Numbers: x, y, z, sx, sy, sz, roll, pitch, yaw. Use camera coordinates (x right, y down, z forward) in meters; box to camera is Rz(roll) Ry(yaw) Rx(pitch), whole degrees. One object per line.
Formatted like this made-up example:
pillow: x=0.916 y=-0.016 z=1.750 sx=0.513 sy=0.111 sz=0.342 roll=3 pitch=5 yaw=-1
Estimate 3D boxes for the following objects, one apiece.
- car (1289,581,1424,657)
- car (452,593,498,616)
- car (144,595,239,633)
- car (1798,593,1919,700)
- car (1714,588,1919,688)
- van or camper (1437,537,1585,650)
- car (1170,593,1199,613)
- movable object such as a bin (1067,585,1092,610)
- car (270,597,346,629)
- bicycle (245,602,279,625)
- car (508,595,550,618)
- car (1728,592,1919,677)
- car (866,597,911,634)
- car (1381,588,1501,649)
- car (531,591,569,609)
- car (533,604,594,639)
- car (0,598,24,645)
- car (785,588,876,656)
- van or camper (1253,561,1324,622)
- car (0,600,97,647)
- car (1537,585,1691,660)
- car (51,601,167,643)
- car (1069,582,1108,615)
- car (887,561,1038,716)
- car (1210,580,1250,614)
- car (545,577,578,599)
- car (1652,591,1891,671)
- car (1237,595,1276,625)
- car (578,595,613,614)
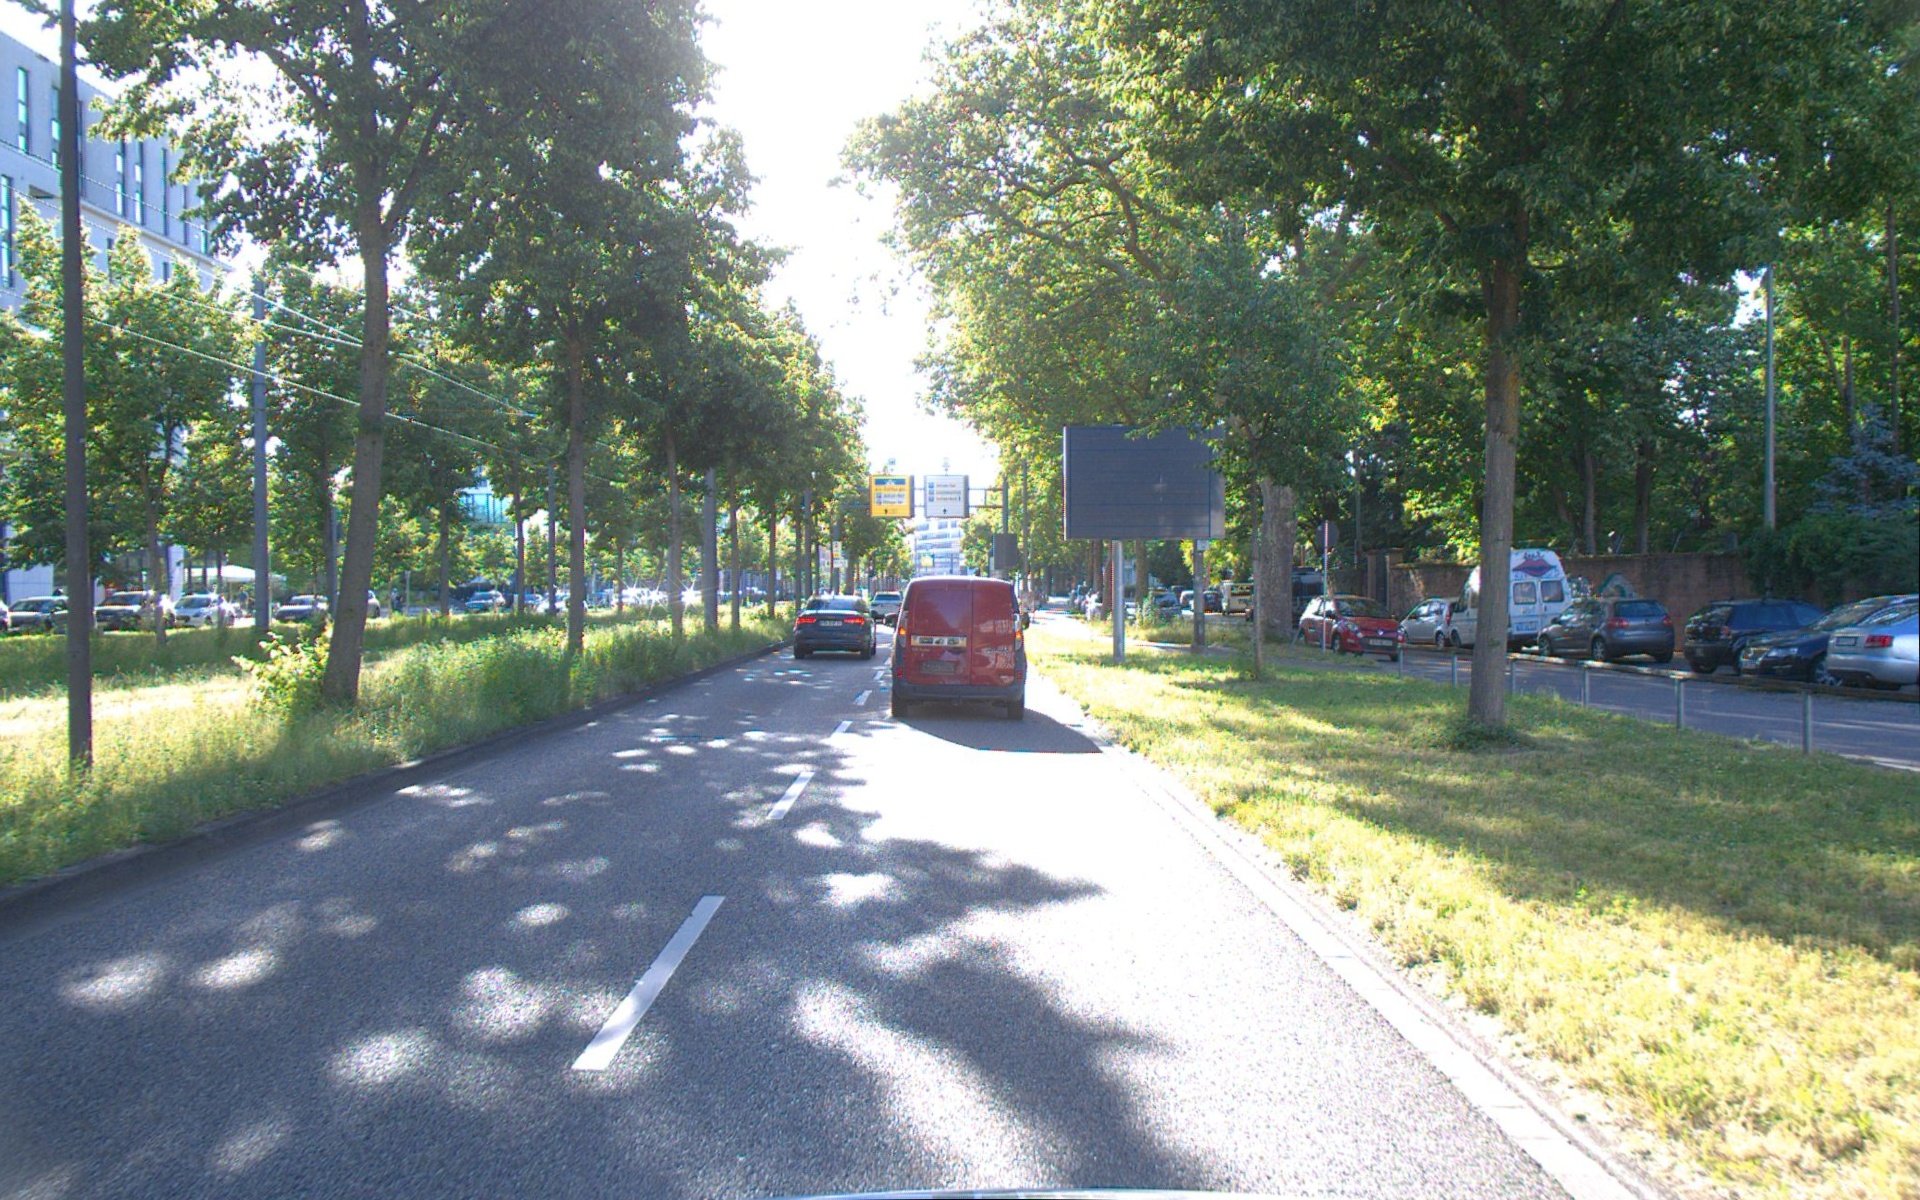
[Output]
car: x=9.476 y=0.445 z=39.829 sx=1.955 sy=1.668 sz=3.995 roll=2 pitch=0 yaw=-5
car: x=-32.492 y=0.312 z=110.903 sx=1.841 sy=1.460 sz=4.609 roll=2 pitch=0 yaw=-2
car: x=-31.492 y=0.554 z=67.936 sx=1.954 sy=1.466 sz=4.453 roll=2 pitch=0 yaw=-3
car: x=15.460 y=0.587 z=25.212 sx=4.290 sy=1.435 sz=2.001 roll=-4 pitch=0 yaw=2
car: x=15.582 y=0.583 z=28.057 sx=4.624 sy=1.430 sz=2.000 roll=-3 pitch=0 yaw=0
van or camper: x=14.742 y=-0.155 z=44.558 sx=1.954 sy=2.779 sz=4.961 roll=-3 pitch=0 yaw=-3
car: x=19.417 y=0.280 z=142.932 sx=1.952 sy=1.668 sz=4.000 roll=1 pitch=0 yaw=1
movable object such as a bin: x=10.105 y=-0.189 z=139.795 sx=2.038 sy=2.049 sz=2.137 roll=1 pitch=0 yaw=3
car: x=-31.352 y=0.635 z=79.637 sx=1.918 sy=1.466 sz=4.265 roll=2 pitch=0 yaw=0
bicycle: x=-38.682 y=0.745 z=91.701 sx=0.576 sy=1.274 sz=1.840 roll=1 pitch=-1 yaw=21
car: x=-32.607 y=0.501 z=125.208 sx=1.840 sy=1.649 sz=4.611 roll=1 pitch=0 yaw=0
car: x=16.456 y=0.602 z=30.387 sx=3.907 sy=1.416 sz=1.619 roll=-2 pitch=0 yaw=-2
car: x=-3.352 y=0.721 z=78.552 sx=1.953 sy=1.646 sz=3.999 roll=1 pitch=0 yaw=0
car: x=14.496 y=0.529 z=50.104 sx=1.807 sy=1.646 sz=3.989 roll=-4 pitch=1 yaw=-11
car: x=-33.185 y=0.035 z=133.973 sx=1.873 sy=1.348 sz=4.611 roll=2 pitch=0 yaw=0
car: x=-20.483 y=1.112 z=85.618 sx=1.953 sy=1.715 sz=5.109 roll=2 pitch=0 yaw=-1
car: x=-30.986 y=0.639 z=50.795 sx=1.953 sy=1.466 sz=4.455 roll=2 pitch=0 yaw=-1
car: x=-2.914 y=0.490 z=37.983 sx=1.755 sy=1.453 sz=3.999 roll=1 pitch=0 yaw=0
van or camper: x=15.843 y=-0.431 z=80.079 sx=2.503 sy=2.731 sz=6.568 roll=-2 pitch=0 yaw=4
car: x=-31.331 y=0.769 z=56.047 sx=1.954 sy=1.466 sz=4.453 roll=2 pitch=0 yaw=-3
car: x=15.202 y=0.515 z=38.682 sx=1.953 sy=1.601 sz=3.999 roll=2 pitch=0 yaw=-1
car: x=-31.721 y=0.791 z=61.845 sx=1.954 sy=1.466 sz=4.934 roll=2 pitch=0 yaw=-3
car: x=8.583 y=-0.077 z=110.889 sx=2.145 sy=2.049 sz=5.820 roll=1 pitch=0 yaw=1
car: x=-0.050 y=0.489 z=22.471 sx=1.773 sy=1.870 sz=3.997 roll=2 pitch=0 yaw=-3
car: x=16.809 y=-0.205 z=103.085 sx=2.043 sy=2.049 sz=4.945 roll=0 pitch=0 yaw=4
car: x=-38.865 y=-1.156 z=161.452 sx=1.953 sy=2.049 sz=4.563 roll=2 pitch=0 yaw=0
car: x=15.917 y=0.591 z=32.539 sx=3.910 sy=1.531 sz=1.763 roll=0 pitch=0 yaw=-7
car: x=16.054 y=0.541 z=89.651 sx=1.654 sy=1.498 sz=3.760 roll=-2 pitch=0 yaw=5
car: x=-32.353 y=0.380 z=146.943 sx=1.952 sy=1.636 sz=4.611 roll=1 pitch=0 yaw=0
